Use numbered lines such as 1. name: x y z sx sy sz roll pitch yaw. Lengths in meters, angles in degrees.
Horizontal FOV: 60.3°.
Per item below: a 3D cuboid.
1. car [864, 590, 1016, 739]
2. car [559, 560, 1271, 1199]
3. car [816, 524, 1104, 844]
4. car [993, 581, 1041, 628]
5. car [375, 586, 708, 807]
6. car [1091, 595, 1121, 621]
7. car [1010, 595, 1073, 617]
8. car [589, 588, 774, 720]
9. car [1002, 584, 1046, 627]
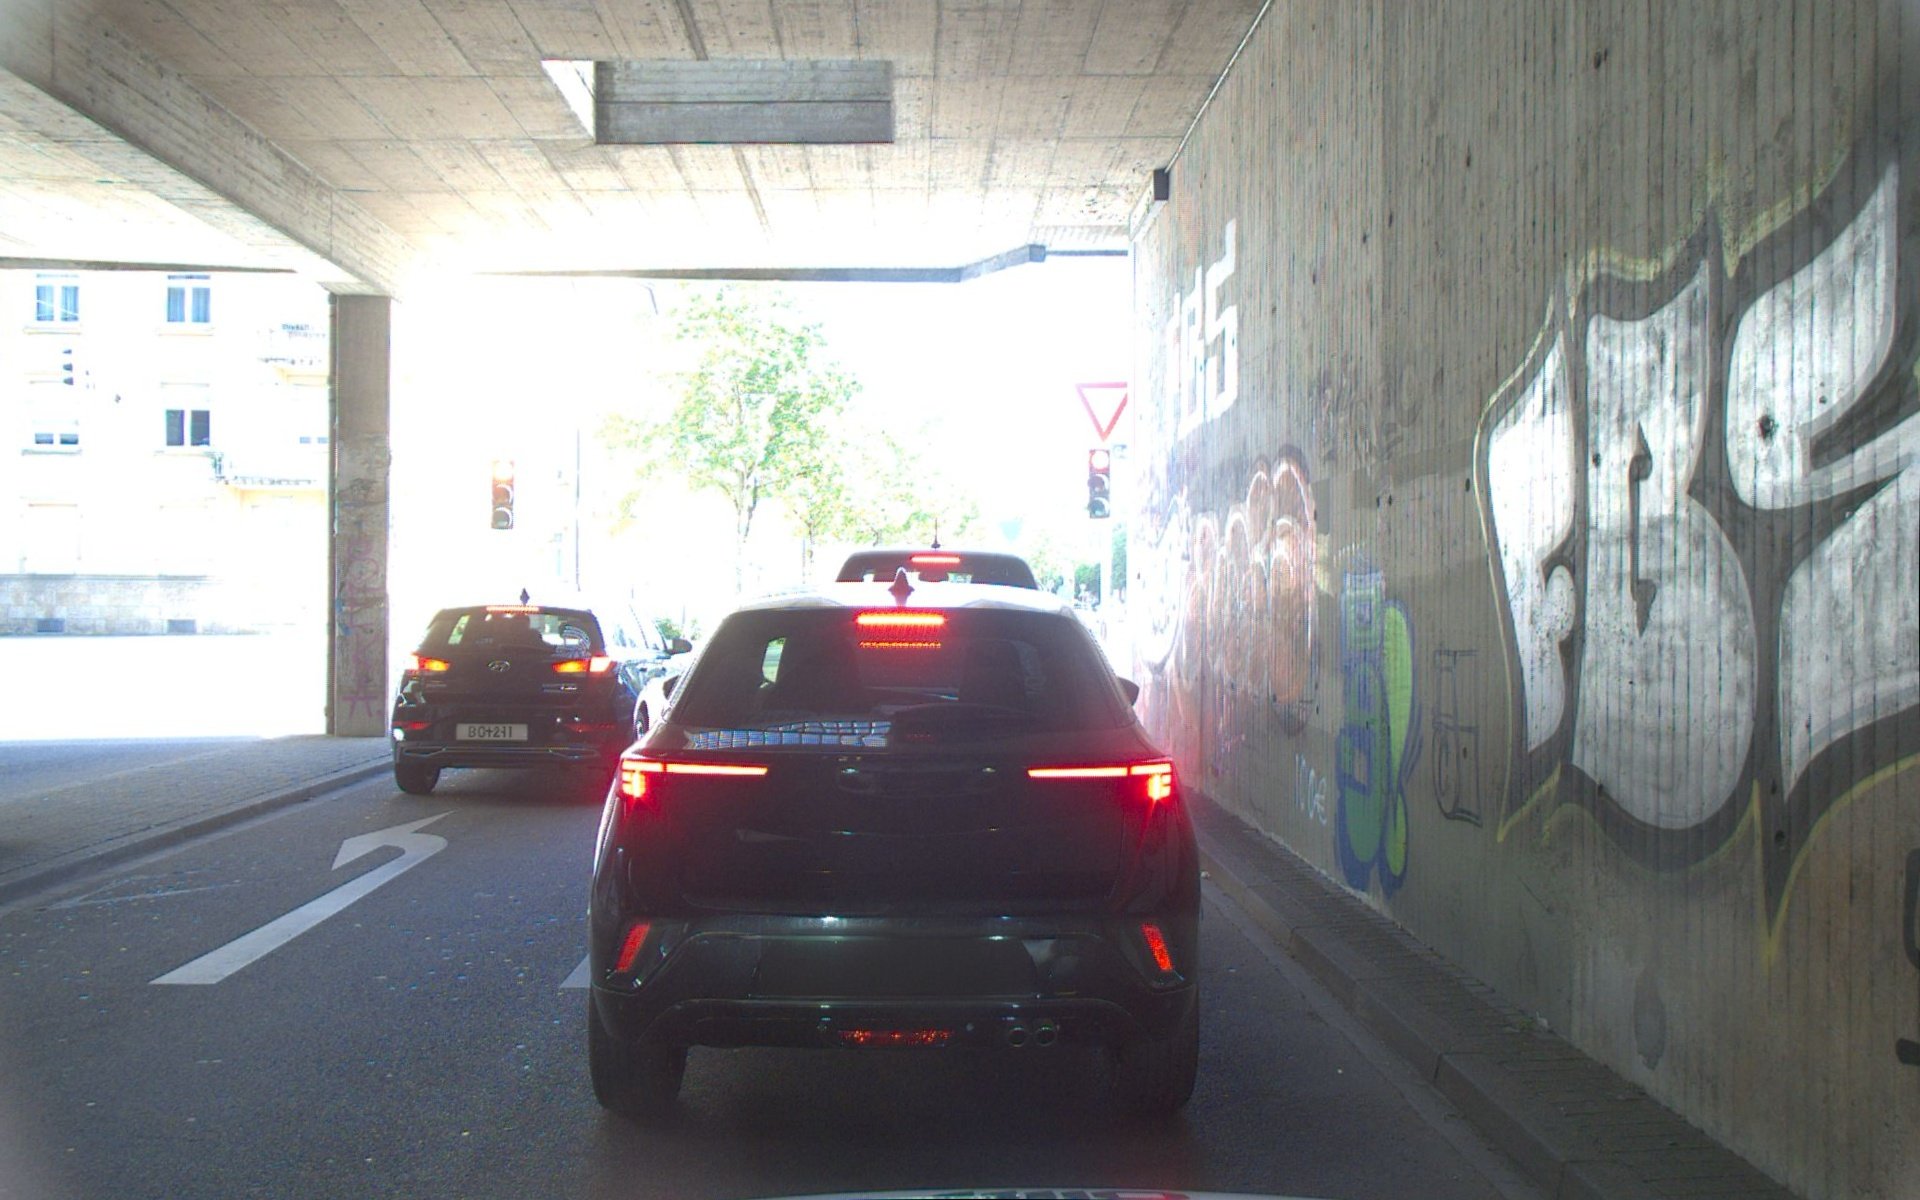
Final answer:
1. car: -0.235 0.668 19.235 1.576 1.539 4.053 0 0 -1
2. car: -0.135 0.682 6.076 1.726 1.558 4.088 0 0 -1
3. car: -0.029 0.501 12.021 1.726 1.915 4.145 0 0 -1
4. car: 2.181 0.184 62.215 1.717 1.696 3.946 1 0 3
5. car: -3.145 0.654 13.219 1.726 1.506 3.843 0 0 -1
6. car: 9.910 0.535 112.039 1.716 1.696 3.947 1 0 8
7. car: 6.590 0.522 133.857 4.732 1.696 1.812 1 0 -22
8. car: -3.416 0.616 20.939 1.726 1.506 3.843 0 0 -1
9. car: 2.670 0.219 68.341 1.717 1.696 3.946 1 0 3
